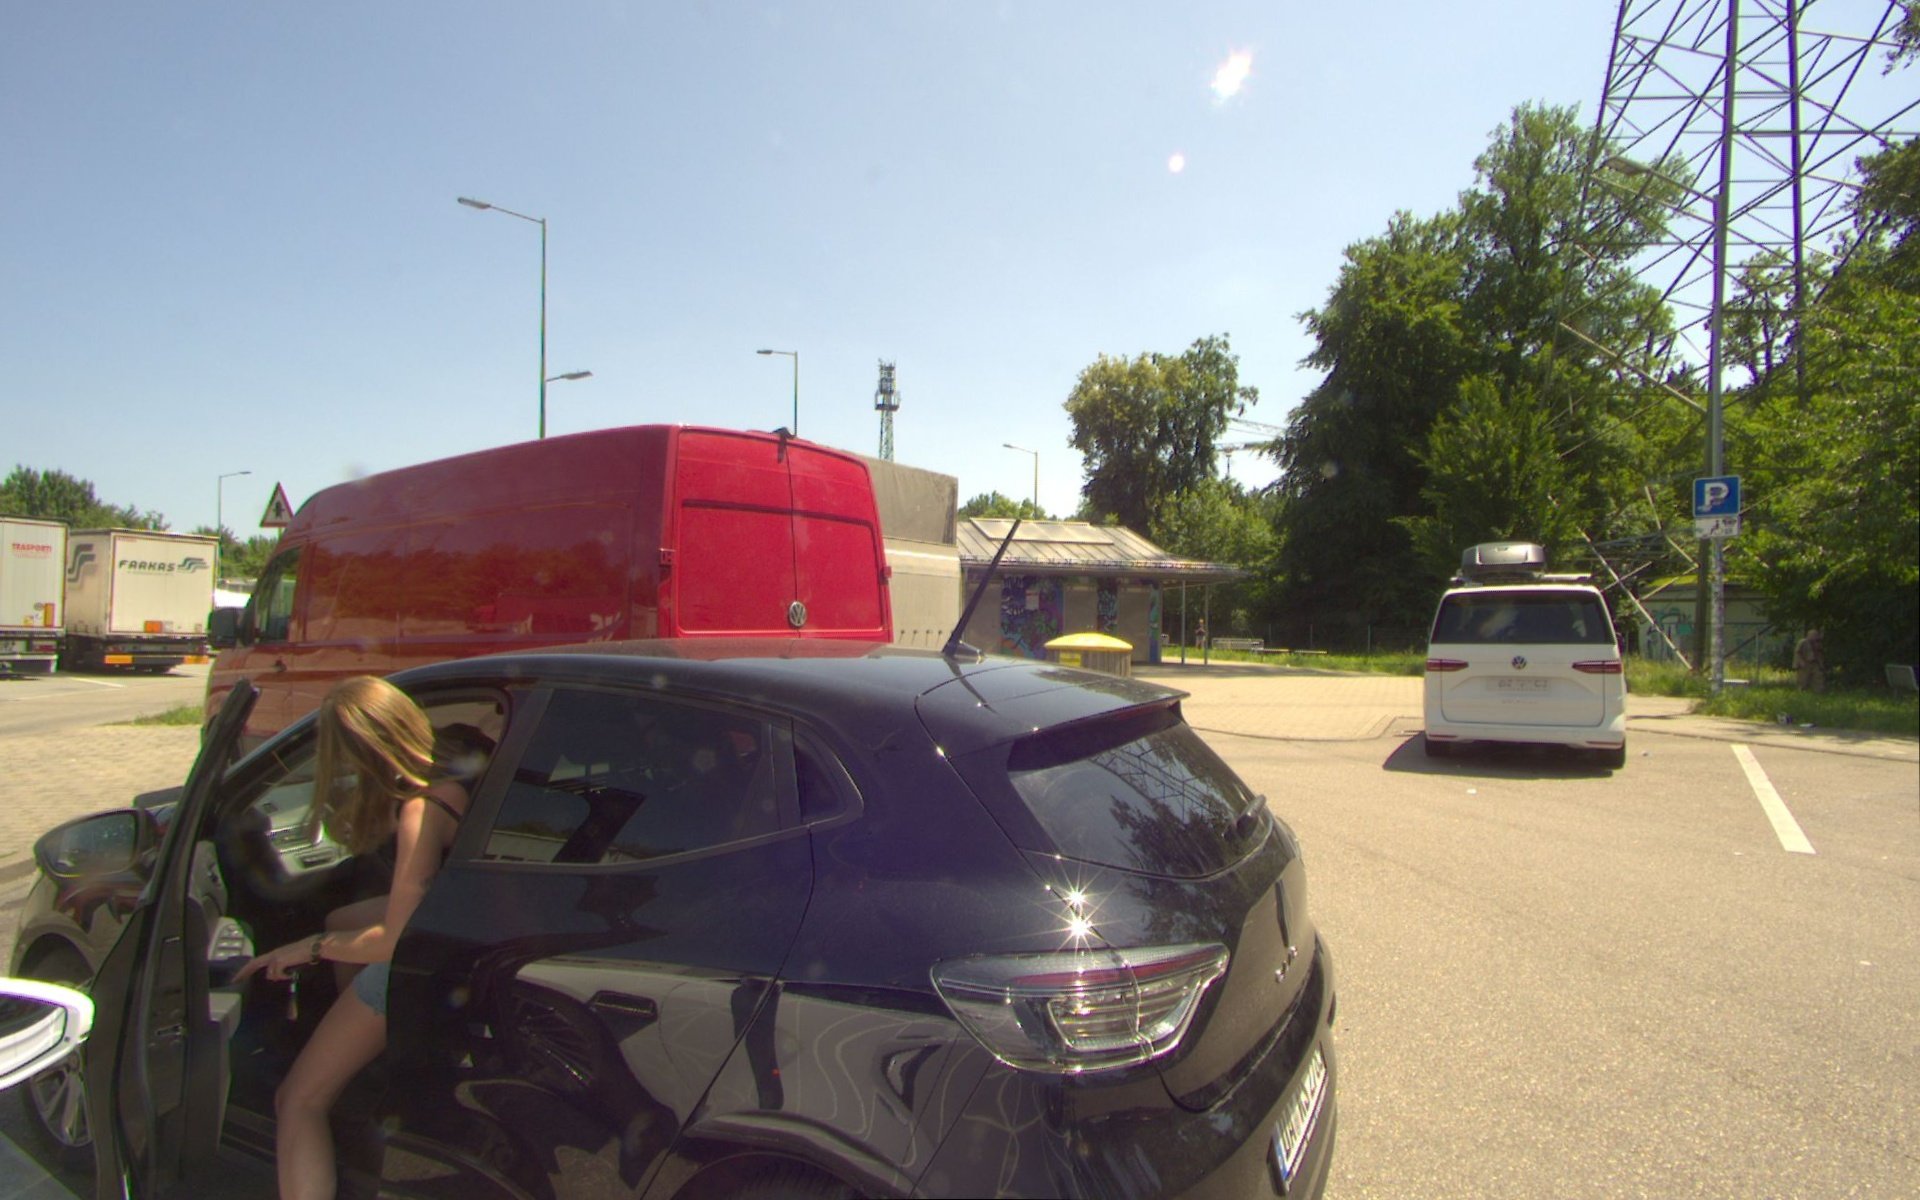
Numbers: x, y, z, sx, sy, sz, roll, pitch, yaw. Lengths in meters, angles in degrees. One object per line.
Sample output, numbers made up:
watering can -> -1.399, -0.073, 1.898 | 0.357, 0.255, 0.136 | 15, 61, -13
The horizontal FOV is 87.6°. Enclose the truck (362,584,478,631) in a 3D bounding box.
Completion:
truck -> -34.731, 0.463, 64.258 | 9.637, 2.857, 2.121 | 0, -1, 33

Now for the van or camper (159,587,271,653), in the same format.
van or camper -> -31.194, 0.818, 41.884 | 5.296, 2.595, 2.100 | 0, -1, 34

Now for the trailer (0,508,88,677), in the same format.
trailer -> -28.361, -0.331, 27.779 | 12.255, 4.090, 2.862 | 2, -1, 33

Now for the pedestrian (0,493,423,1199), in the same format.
pedestrian -> -1.518, 0.635, 2.113 | 0.645, 1.606, 0.646 | 1, 0, -28

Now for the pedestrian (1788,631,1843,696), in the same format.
pedestrian -> 18.809, 1.375, 22.034 | 0.695, 1.392, 0.607 | 1, 0, 10

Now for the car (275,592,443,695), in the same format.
car -> -14.375, 0.957, 23.806 | 5.253, 2.178, 1.983 | 0, -1, 42

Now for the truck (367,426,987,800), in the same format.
truck -> -3.266, 0.129, 10.541 | 6.874, 2.828, 2.460 | 0, -1, 35

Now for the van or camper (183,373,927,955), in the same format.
van or camper -> -3.371, 0.321, 7.335 | 6.394, 2.688, 1.990 | 0, -1, 36

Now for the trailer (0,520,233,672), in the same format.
trailer -> -27.301, -0.201, 31.444 | 12.255, 4.090, 2.862 | 2, -1, 33

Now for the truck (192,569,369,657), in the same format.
truck -> -31.700, 0.504, 46.456 | 11.255, 3.615, 2.484 | 2, -1, 33

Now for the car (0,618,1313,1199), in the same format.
car -> -1.064, 0.832, 2.828 | 3.706, 1.503, 1.615 | 0, -1, 27

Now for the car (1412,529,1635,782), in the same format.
car -> 6.535, 0.563, 11.542 | 1.892, 2.354, 4.074 | -1, -1, 32

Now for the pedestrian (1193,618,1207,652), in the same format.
pedestrian -> 10.941, 1.609, 45.697 | 0.581, 1.536, 0.588 | 1, 0, 9
